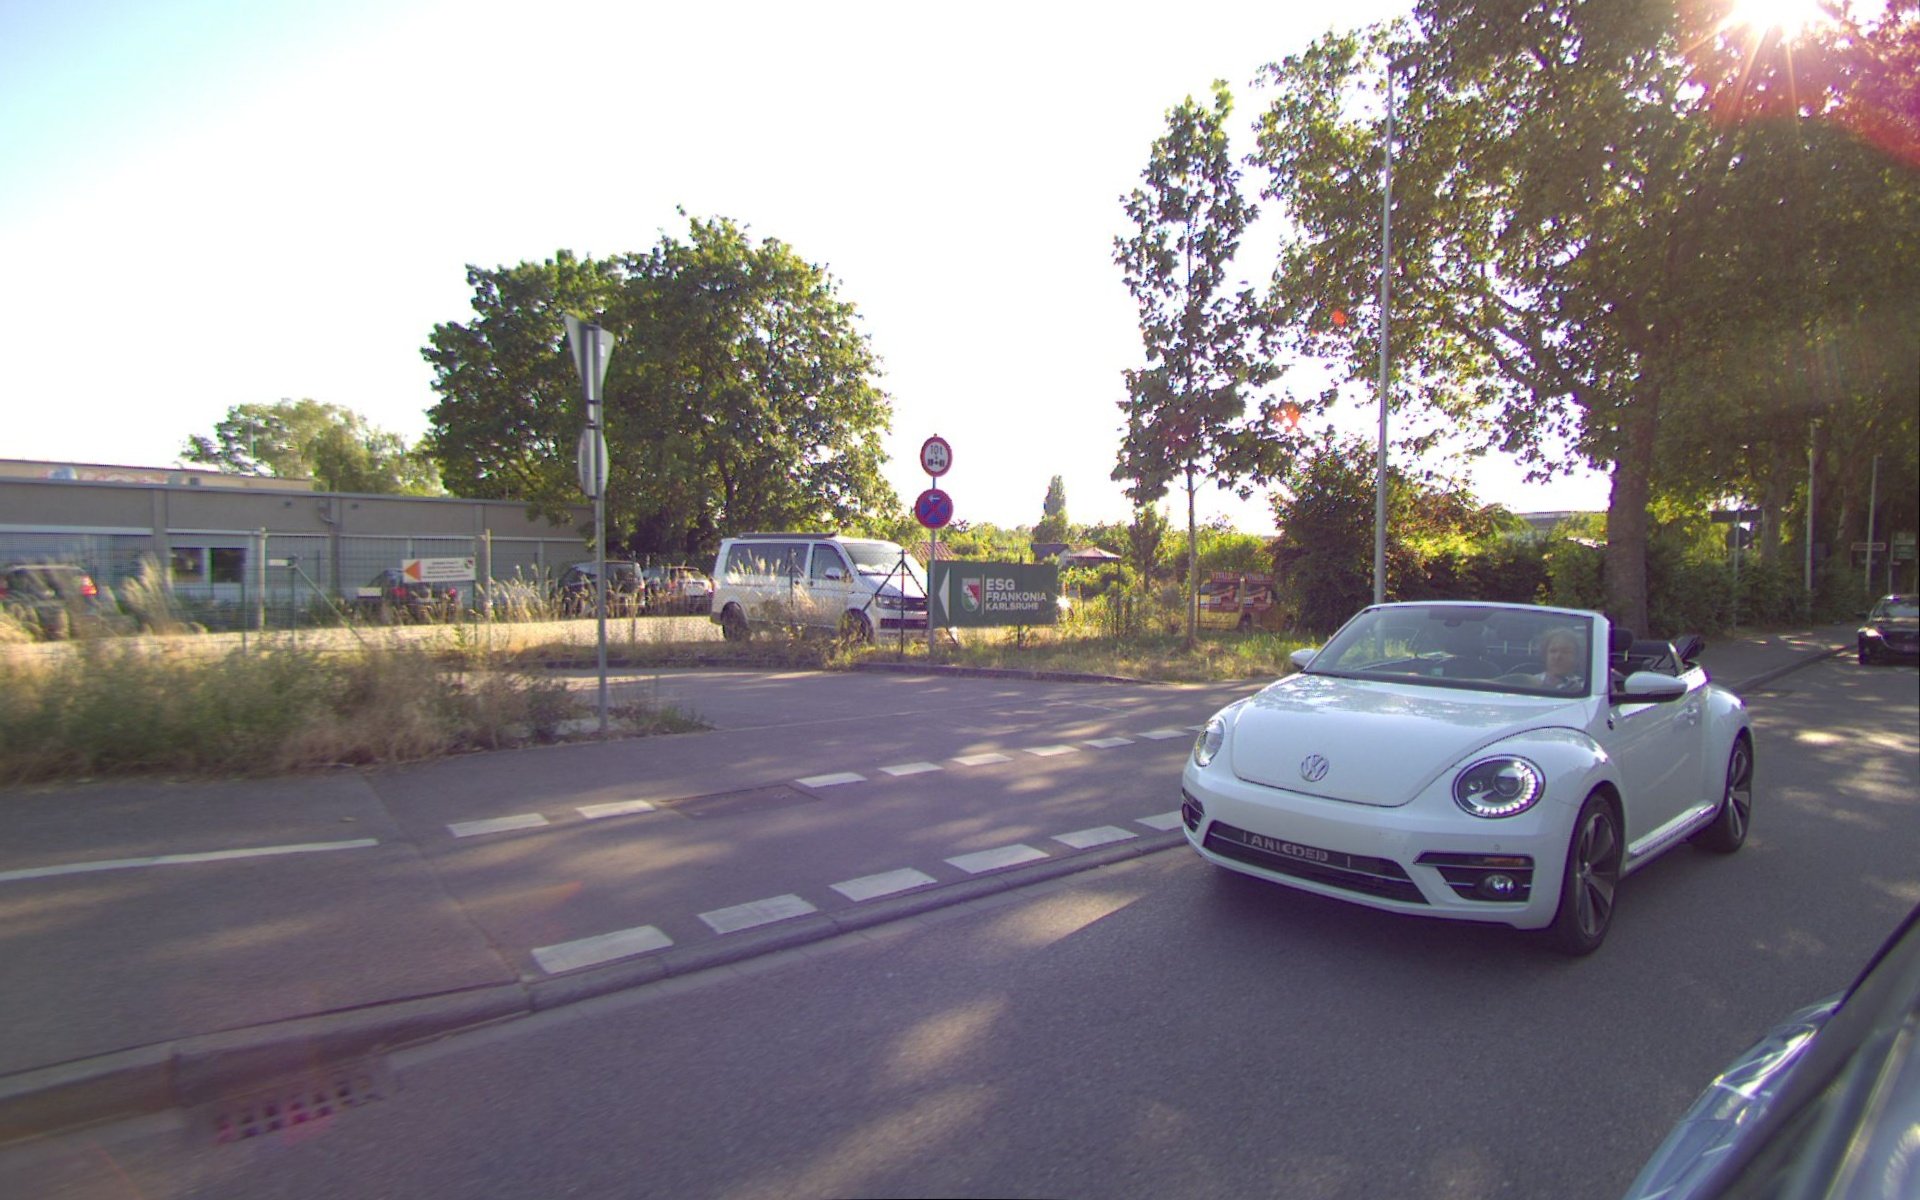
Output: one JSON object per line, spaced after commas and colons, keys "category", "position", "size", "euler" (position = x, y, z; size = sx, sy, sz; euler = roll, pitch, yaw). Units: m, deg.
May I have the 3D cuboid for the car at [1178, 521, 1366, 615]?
{"category": "car", "position": [9.809, -0.984, 31.598], "size": [5.819, 2.654, 2.939], "euler": [-1, 3, -41]}

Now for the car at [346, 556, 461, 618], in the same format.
{"category": "car", "position": [-15.690, -0.358, 28.453], "size": [4.018, 1.606, 1.659], "euler": [0, 0, 43]}

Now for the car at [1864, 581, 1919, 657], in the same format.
{"category": "car", "position": [20.805, 0.372, 21.686], "size": [3.932, 1.530, 1.739], "euler": [-1, 1, -42]}

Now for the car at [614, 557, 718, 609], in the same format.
{"category": "car", "position": [-9.718, -0.536, 33.336], "size": [1.695, 1.606, 3.829], "euler": [-1, 0, -45]}

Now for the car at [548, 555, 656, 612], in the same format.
{"category": "car", "position": [-11.061, -0.496, 31.171], "size": [1.638, 1.661, 3.865], "euler": [0, 0, -45]}

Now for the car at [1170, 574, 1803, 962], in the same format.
{"category": "car", "position": [3.171, 0.598, 5.770], "size": [3.910, 1.441, 1.856], "euler": [-1, 2, -40]}

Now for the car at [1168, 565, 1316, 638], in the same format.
{"category": "car", "position": [7.236, -0.019, 25.778], "size": [1.993, 1.667, 4.093], "euler": [3, 3, 42]}

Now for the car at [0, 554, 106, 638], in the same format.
{"category": "car", "position": [-20.204, -0.108, 22.293], "size": [3.908, 1.686, 1.680], "euler": [0, 2, 44]}

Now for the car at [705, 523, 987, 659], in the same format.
{"category": "car", "position": [-2.175, -0.156, 17.949], "size": [5.336, 2.047, 2.071], "euler": [0, 0, 44]}
